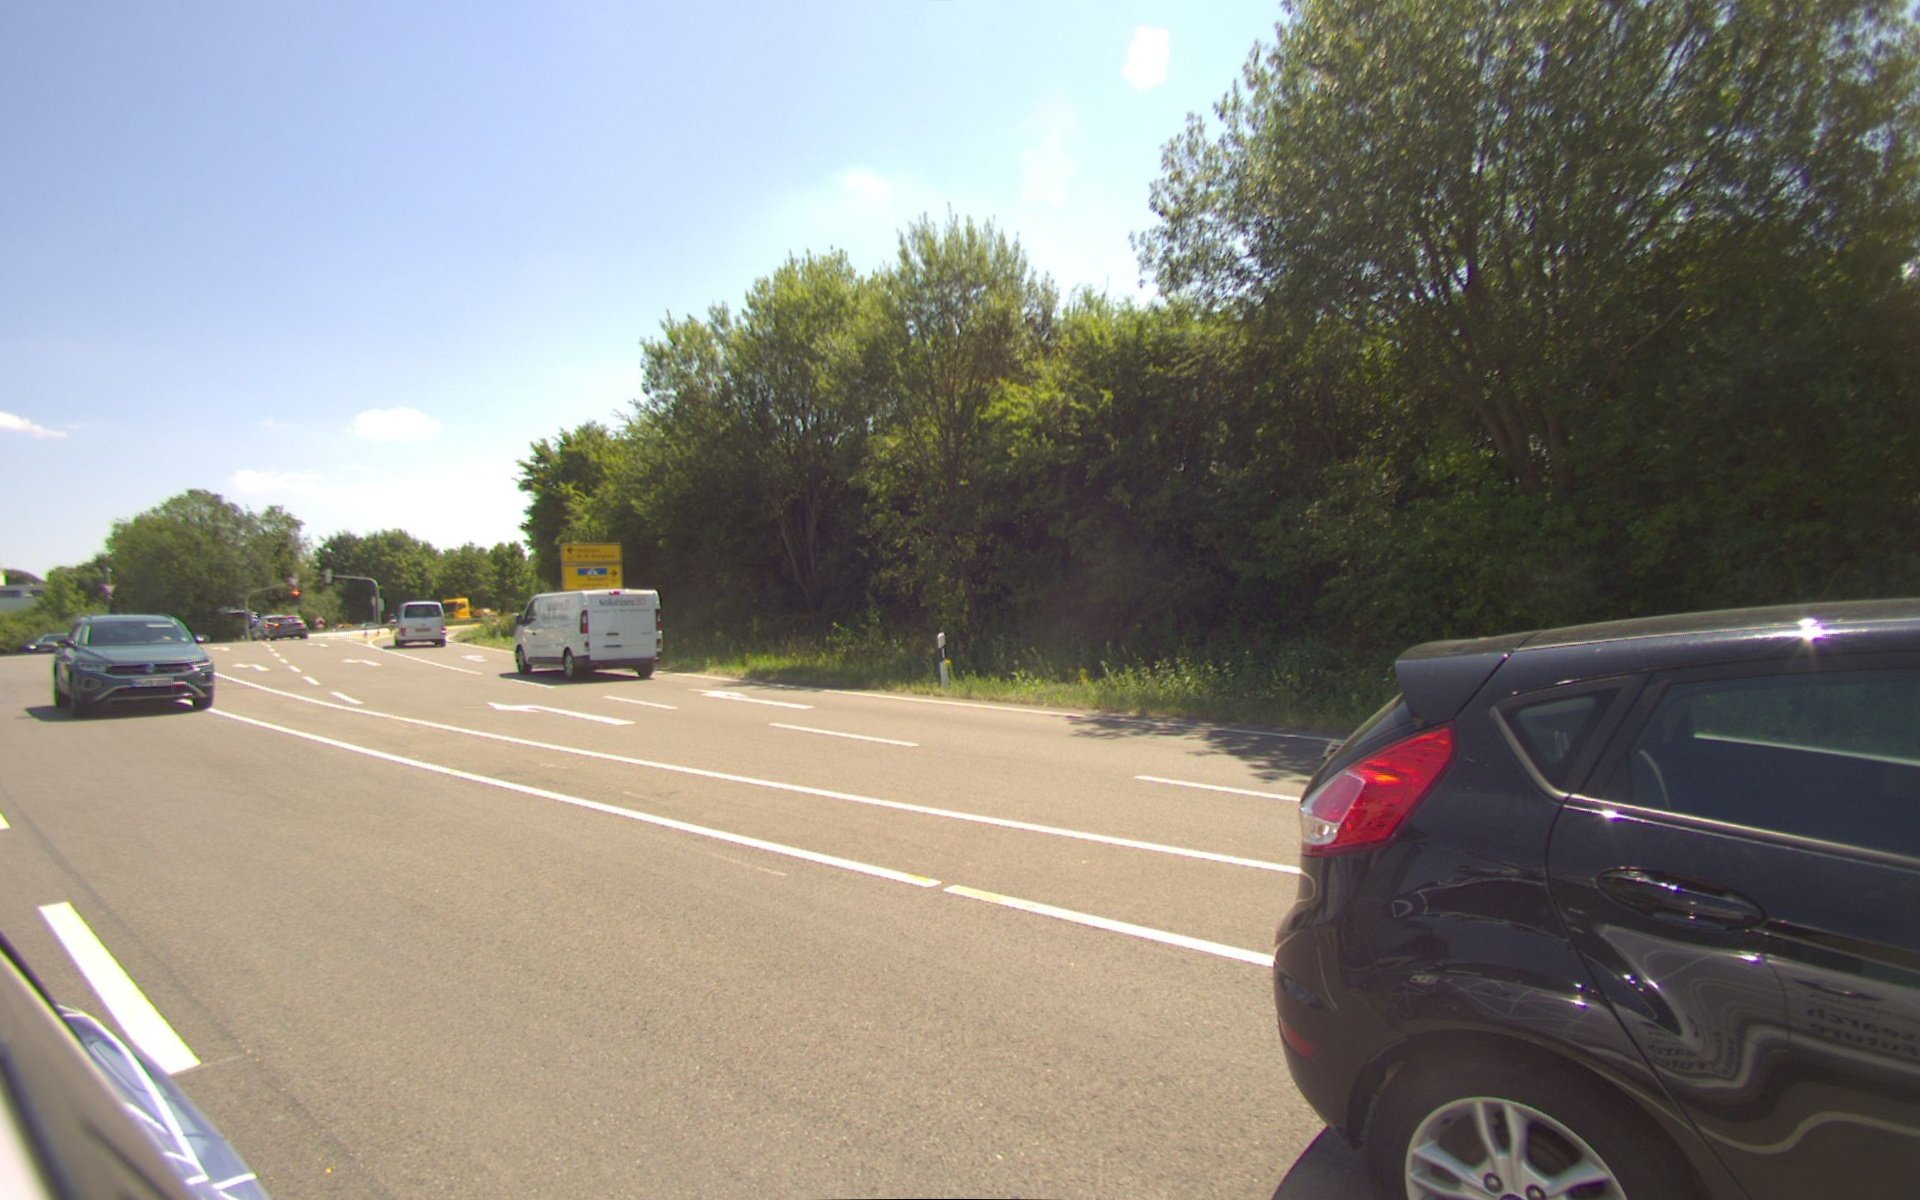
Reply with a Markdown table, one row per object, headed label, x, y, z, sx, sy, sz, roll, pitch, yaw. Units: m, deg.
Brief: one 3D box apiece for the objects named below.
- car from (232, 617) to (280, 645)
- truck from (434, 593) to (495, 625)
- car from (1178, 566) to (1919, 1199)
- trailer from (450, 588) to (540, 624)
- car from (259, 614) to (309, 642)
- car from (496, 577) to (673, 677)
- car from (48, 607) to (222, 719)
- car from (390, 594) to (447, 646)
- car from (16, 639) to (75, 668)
| label | x | y | z | sx | sy | sz | roll | pitch | yaw |
| --- | --- | --- | --- | --- | --- | --- | --- | --- | --- |
| car | -46.117 | 2.049 | 66.277 | 4.352 | 1.611 | 1.591 | -4 | 0 | 42 |
| truck | -60.258 | 1.041 | 123.294 | 2.956 | 3.564 | 6.830 | -4 | 0 | 13 |
| car | 2.631 | 0.657 | 1.515 | 4.205 | 1.505 | 1.636 | -3 | -1 | 41 |
| trailer | -59.059 | 0.695 | 129.058 | 3.042 | 4.093 | 13.123 | -4 | 0 | 12 |
| car | -40.706 | 1.686 | 60.919 | 1.969 | 1.449 | 4.229 | -4 | 0 | -40 |
| car | -8.955 | 0.602 | 23.744 | 2.050 | 2.029 | 5.817 | -1 | 0 | -40 |
| car | -13.816 | 0.956 | 16.859 | 4.393 | 1.598 | 1.814 | -2 | -1 | 45 |
| car | -23.661 | 0.904 | 44.158 | 1.947 | 2.028 | 4.855 | -4 | 0 | -30 |
| car | -58.018 | 3.374 | 64.279 | 2.083 | 1.603 | 4.463 | -1 | 0 | -33 |
